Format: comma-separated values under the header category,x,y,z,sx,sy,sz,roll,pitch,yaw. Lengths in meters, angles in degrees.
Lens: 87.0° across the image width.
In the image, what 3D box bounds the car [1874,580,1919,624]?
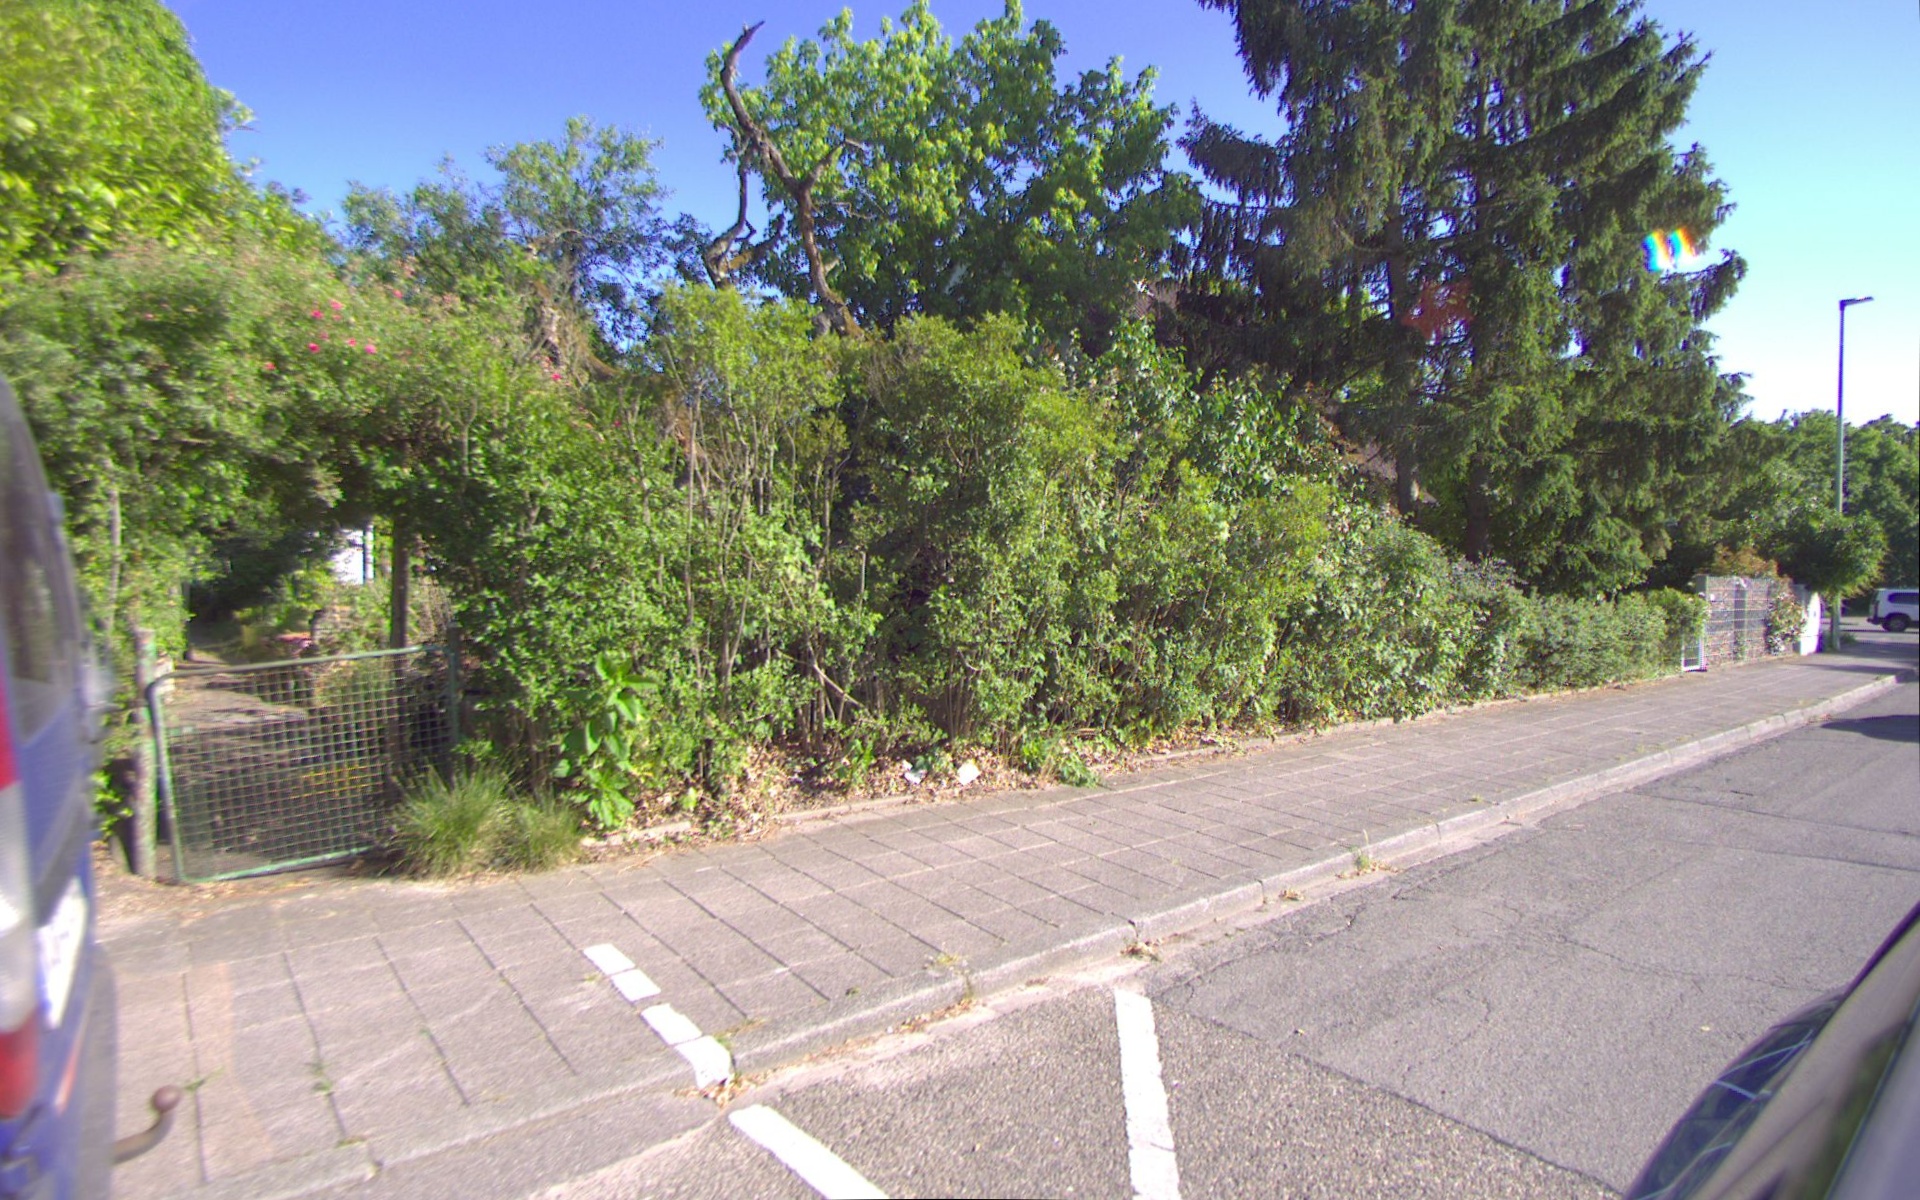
category,x,y,z,sx,sy,sz,roll,pitch,yaw
car,42.087,0.104,42.848,4.841,1.864,1.838,1,1,38

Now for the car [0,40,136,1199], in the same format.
category,x,y,z,sx,sy,sz,roll,pitch,yaw
car,-3.281,0.397,0.367,4.615,1.931,1.840,-1,1,-40
